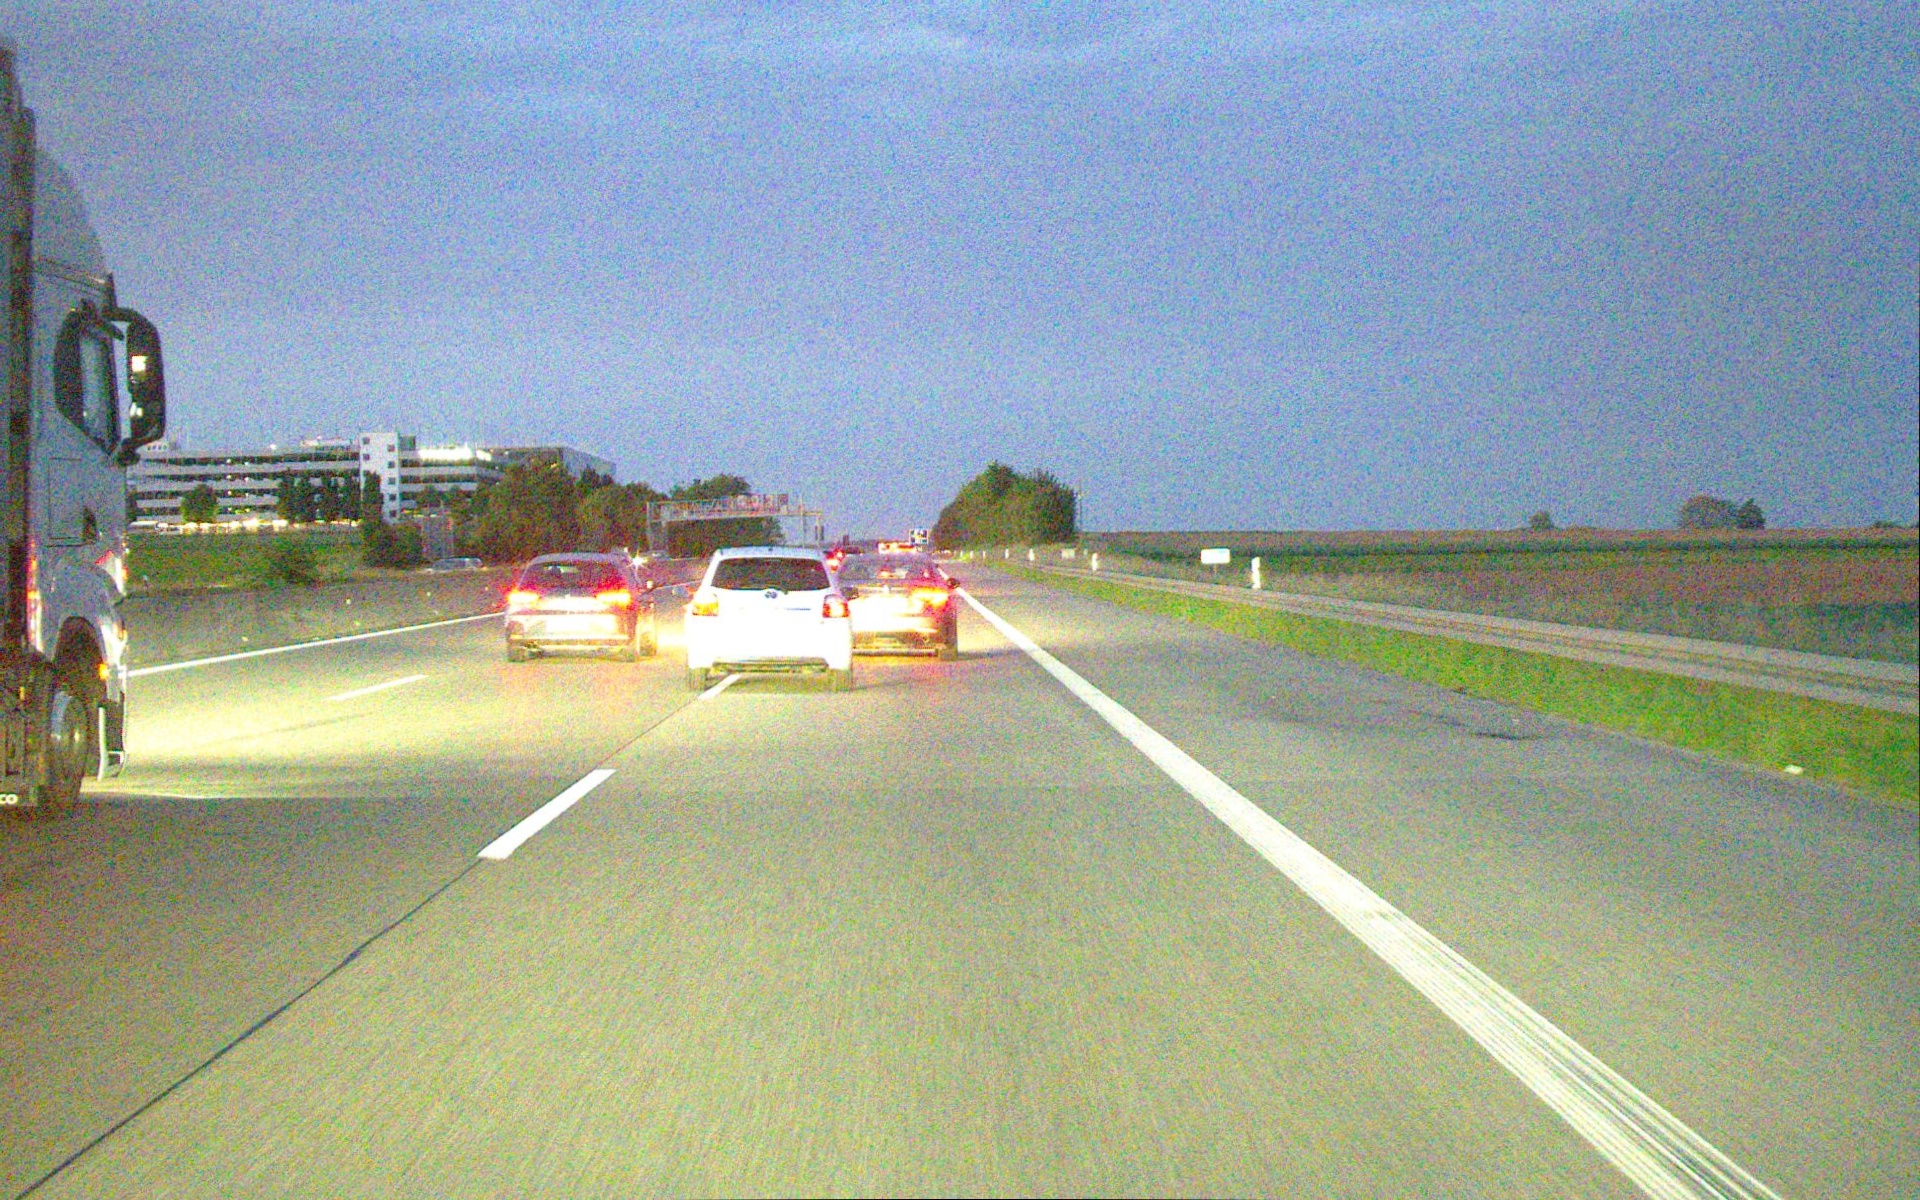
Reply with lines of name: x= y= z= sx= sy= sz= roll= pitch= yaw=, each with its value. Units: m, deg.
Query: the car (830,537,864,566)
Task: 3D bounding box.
car: x=-7.541 y=-3.248 z=229.903 sx=2.199 sy=1.873 sz=4.000 roll=1 pitch=0 yaw=-1

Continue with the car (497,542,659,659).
car: x=-5.049 y=-0.010 z=45.904 sx=1.722 sy=1.466 sz=4.726 roll=1 pitch=0 yaw=-1

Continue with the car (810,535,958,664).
car: x=-1.011 y=-0.026 z=46.155 sx=1.880 sy=1.637 sz=4.000 roll=1 pitch=0 yaw=-1

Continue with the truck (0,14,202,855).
truck: x=-6.036 y=-0.804 z=17.924 sx=2.777 sy=4.079 sz=6.103 roll=-1 pitch=0 yaw=0

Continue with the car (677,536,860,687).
car: x=-2.011 y=0.100 z=37.182 sx=1.744 sy=1.519 sz=4.414 roll=1 pitch=0 yaw=0

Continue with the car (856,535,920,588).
car: x=-2.166 y=-1.152 z=102.873 sx=1.880 sy=1.547 sz=4.000 roll=1 pitch=0 yaw=-2

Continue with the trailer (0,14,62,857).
trailer: x=-6.025 y=-0.742 z=10.375 sx=2.794 sy=4.071 sz=14.526 roll=-1 pitch=0 yaw=0

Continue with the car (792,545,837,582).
car: x=-6.324 y=-1.569 z=149.472 sx=1.880 sy=1.547 sz=4.000 roll=1 pitch=0 yaw=-2
